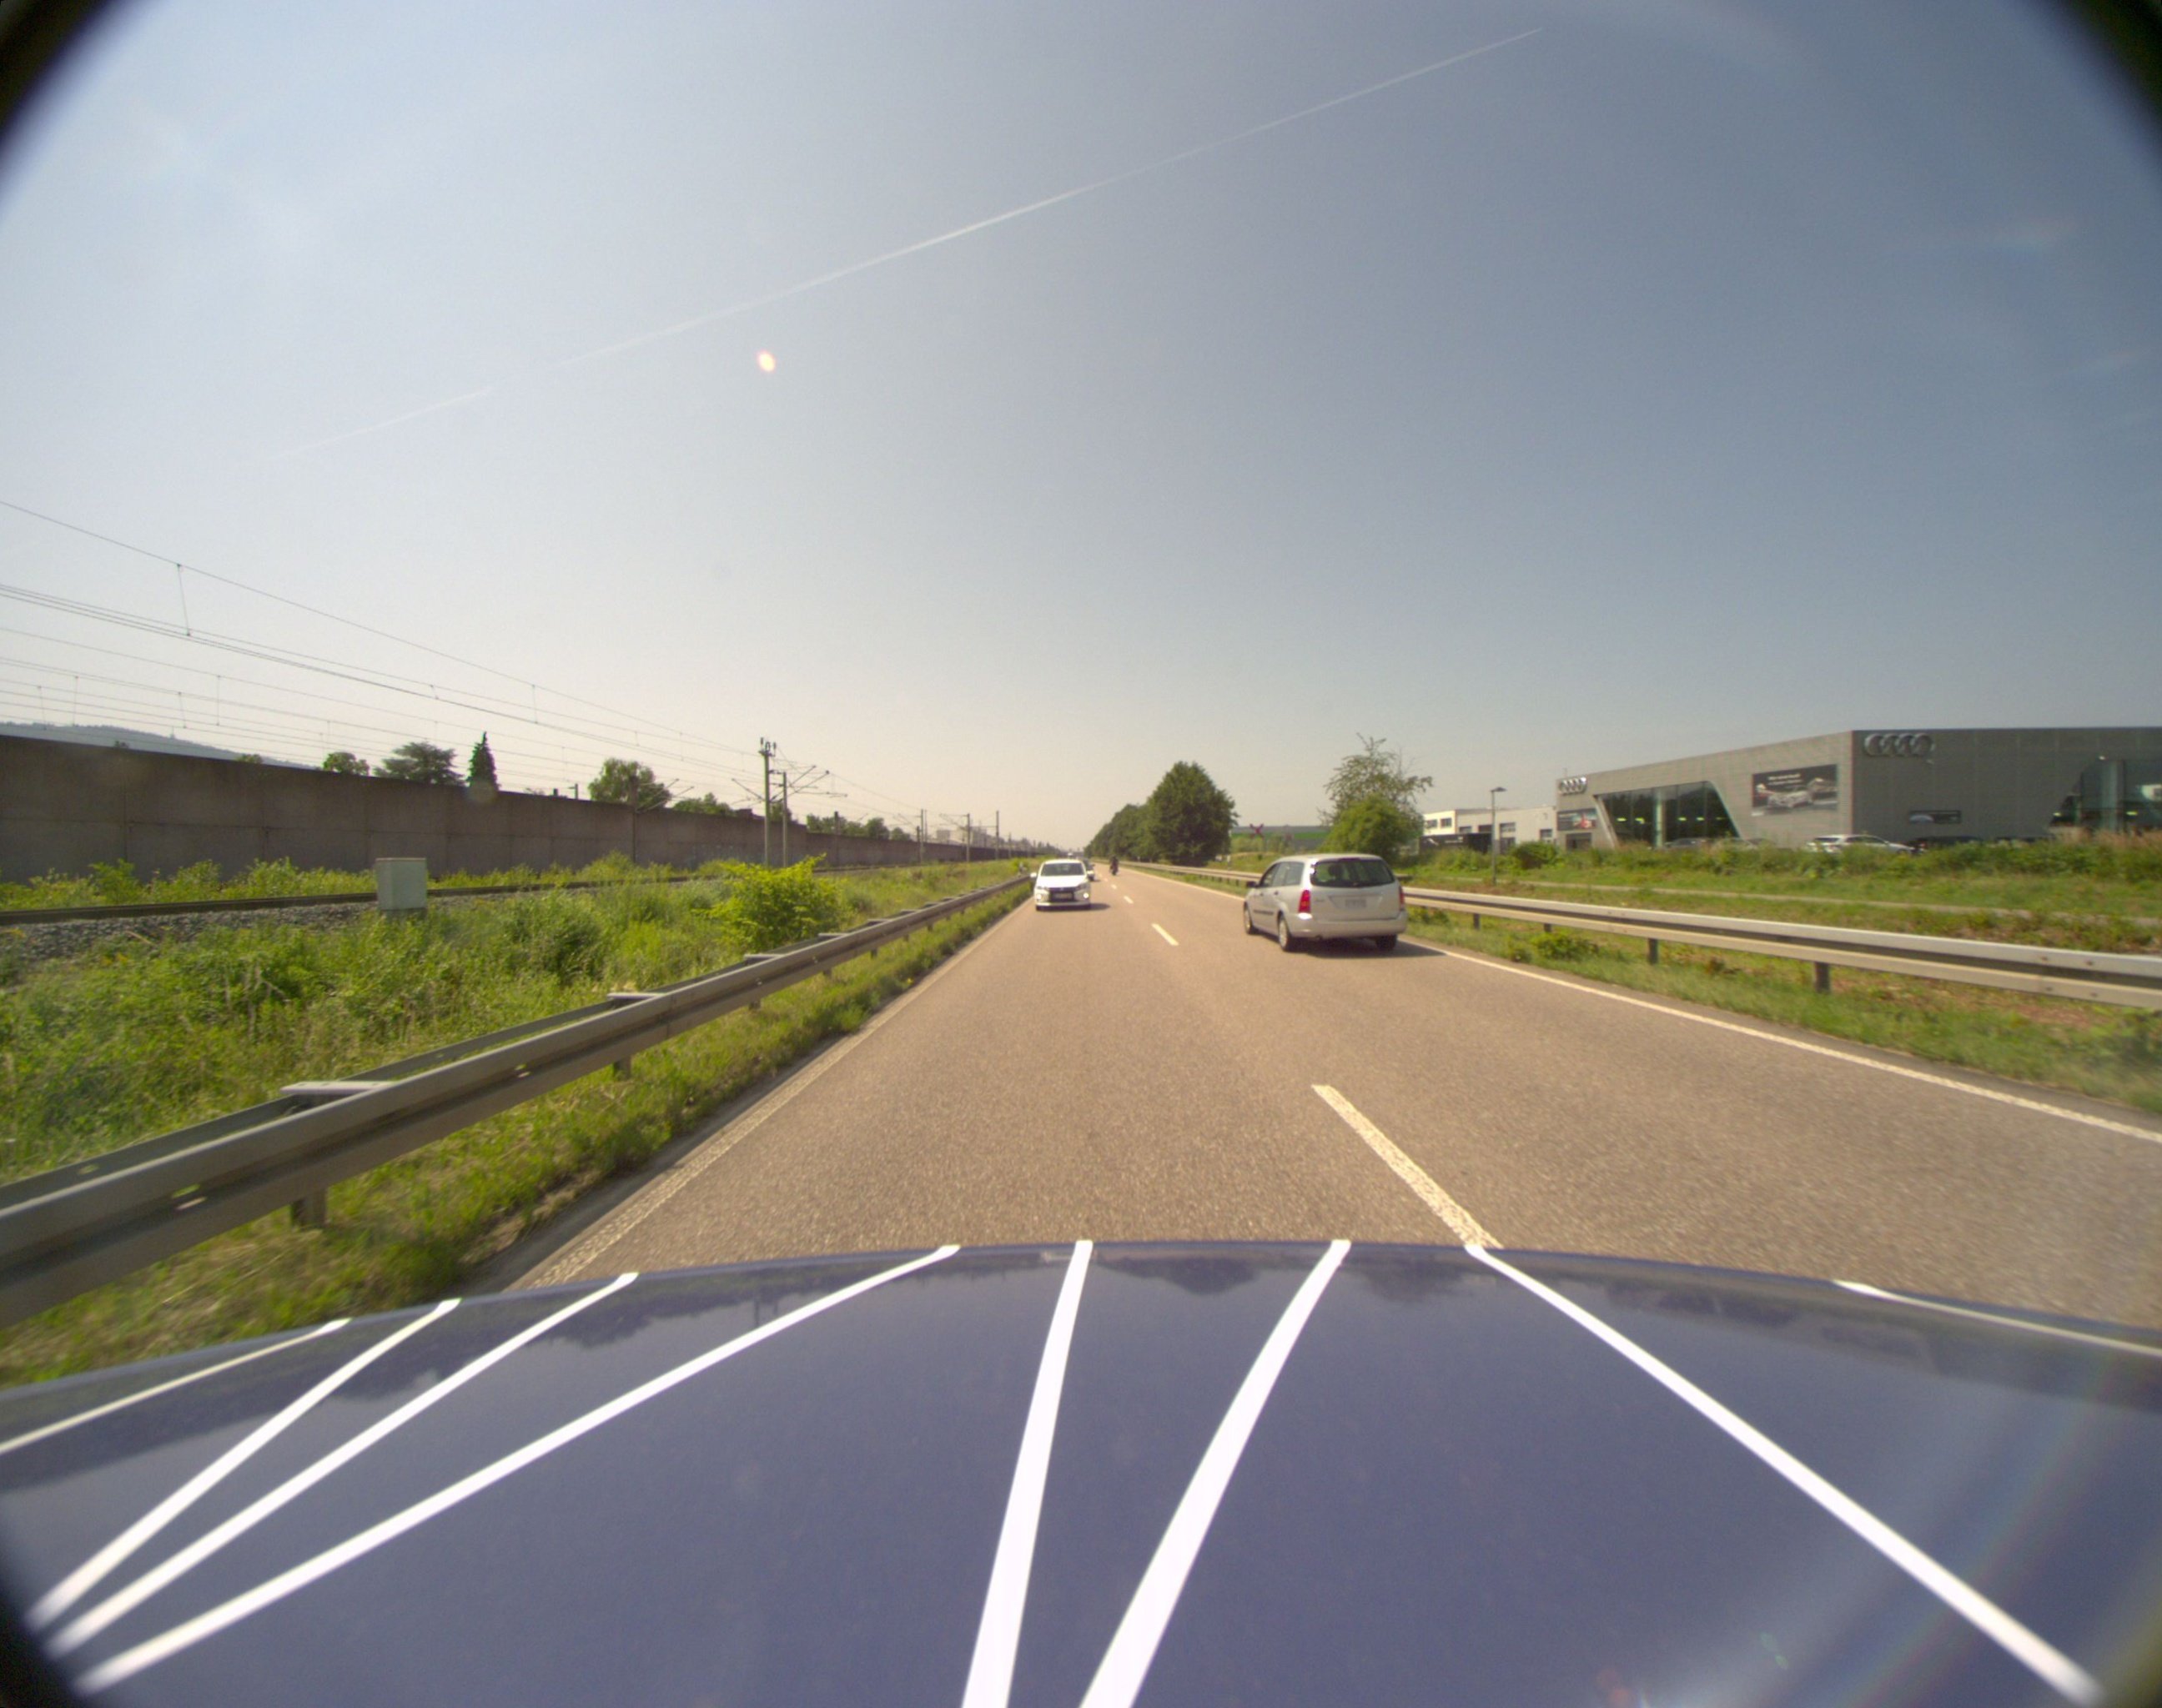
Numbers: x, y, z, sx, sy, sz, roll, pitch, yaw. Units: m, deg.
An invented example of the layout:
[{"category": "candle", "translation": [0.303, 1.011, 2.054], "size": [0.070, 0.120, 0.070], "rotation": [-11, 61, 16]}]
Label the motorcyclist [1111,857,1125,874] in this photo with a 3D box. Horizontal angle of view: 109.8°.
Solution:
[{"category": "motorcyclist", "translation": [2.971, 0.898, 61.267], "size": [0.996, 1.302, 0.935], "rotation": [-2, 1, 0]}]

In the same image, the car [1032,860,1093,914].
[{"category": "car", "translation": [-0.559, 0.944, 23.727], "size": [1.701, 1.470, 4.154], "rotation": [-2, 0, -1]}]

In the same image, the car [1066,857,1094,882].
[{"category": "car", "translation": [-0.084, 0.956, 49.143], "size": [1.711, 1.470, 4.154], "rotation": [-2, 0, -1]}]

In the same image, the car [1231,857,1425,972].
[{"category": "car", "translation": [3.825, 0.831, 12.684], "size": [1.702, 1.466, 4.686], "rotation": [-2, 0, 1]}]

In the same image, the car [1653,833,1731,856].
[{"category": "car", "translation": [43.299, -0.627, 53.982], "size": [1.751, 1.528, 4.665], "rotation": [1, 0, 0]}]

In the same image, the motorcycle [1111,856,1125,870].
[{"category": "motorcycle", "translation": [2.974, 0.708, 61.234], "size": [0.930, 1.022, 2.268], "rotation": [-2, 0, 1]}]

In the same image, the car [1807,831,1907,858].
[{"category": "car", "translation": [43.082, -0.505, 42.224], "size": [4.239, 1.428, 1.623], "rotation": [1, 0, -6]}]
